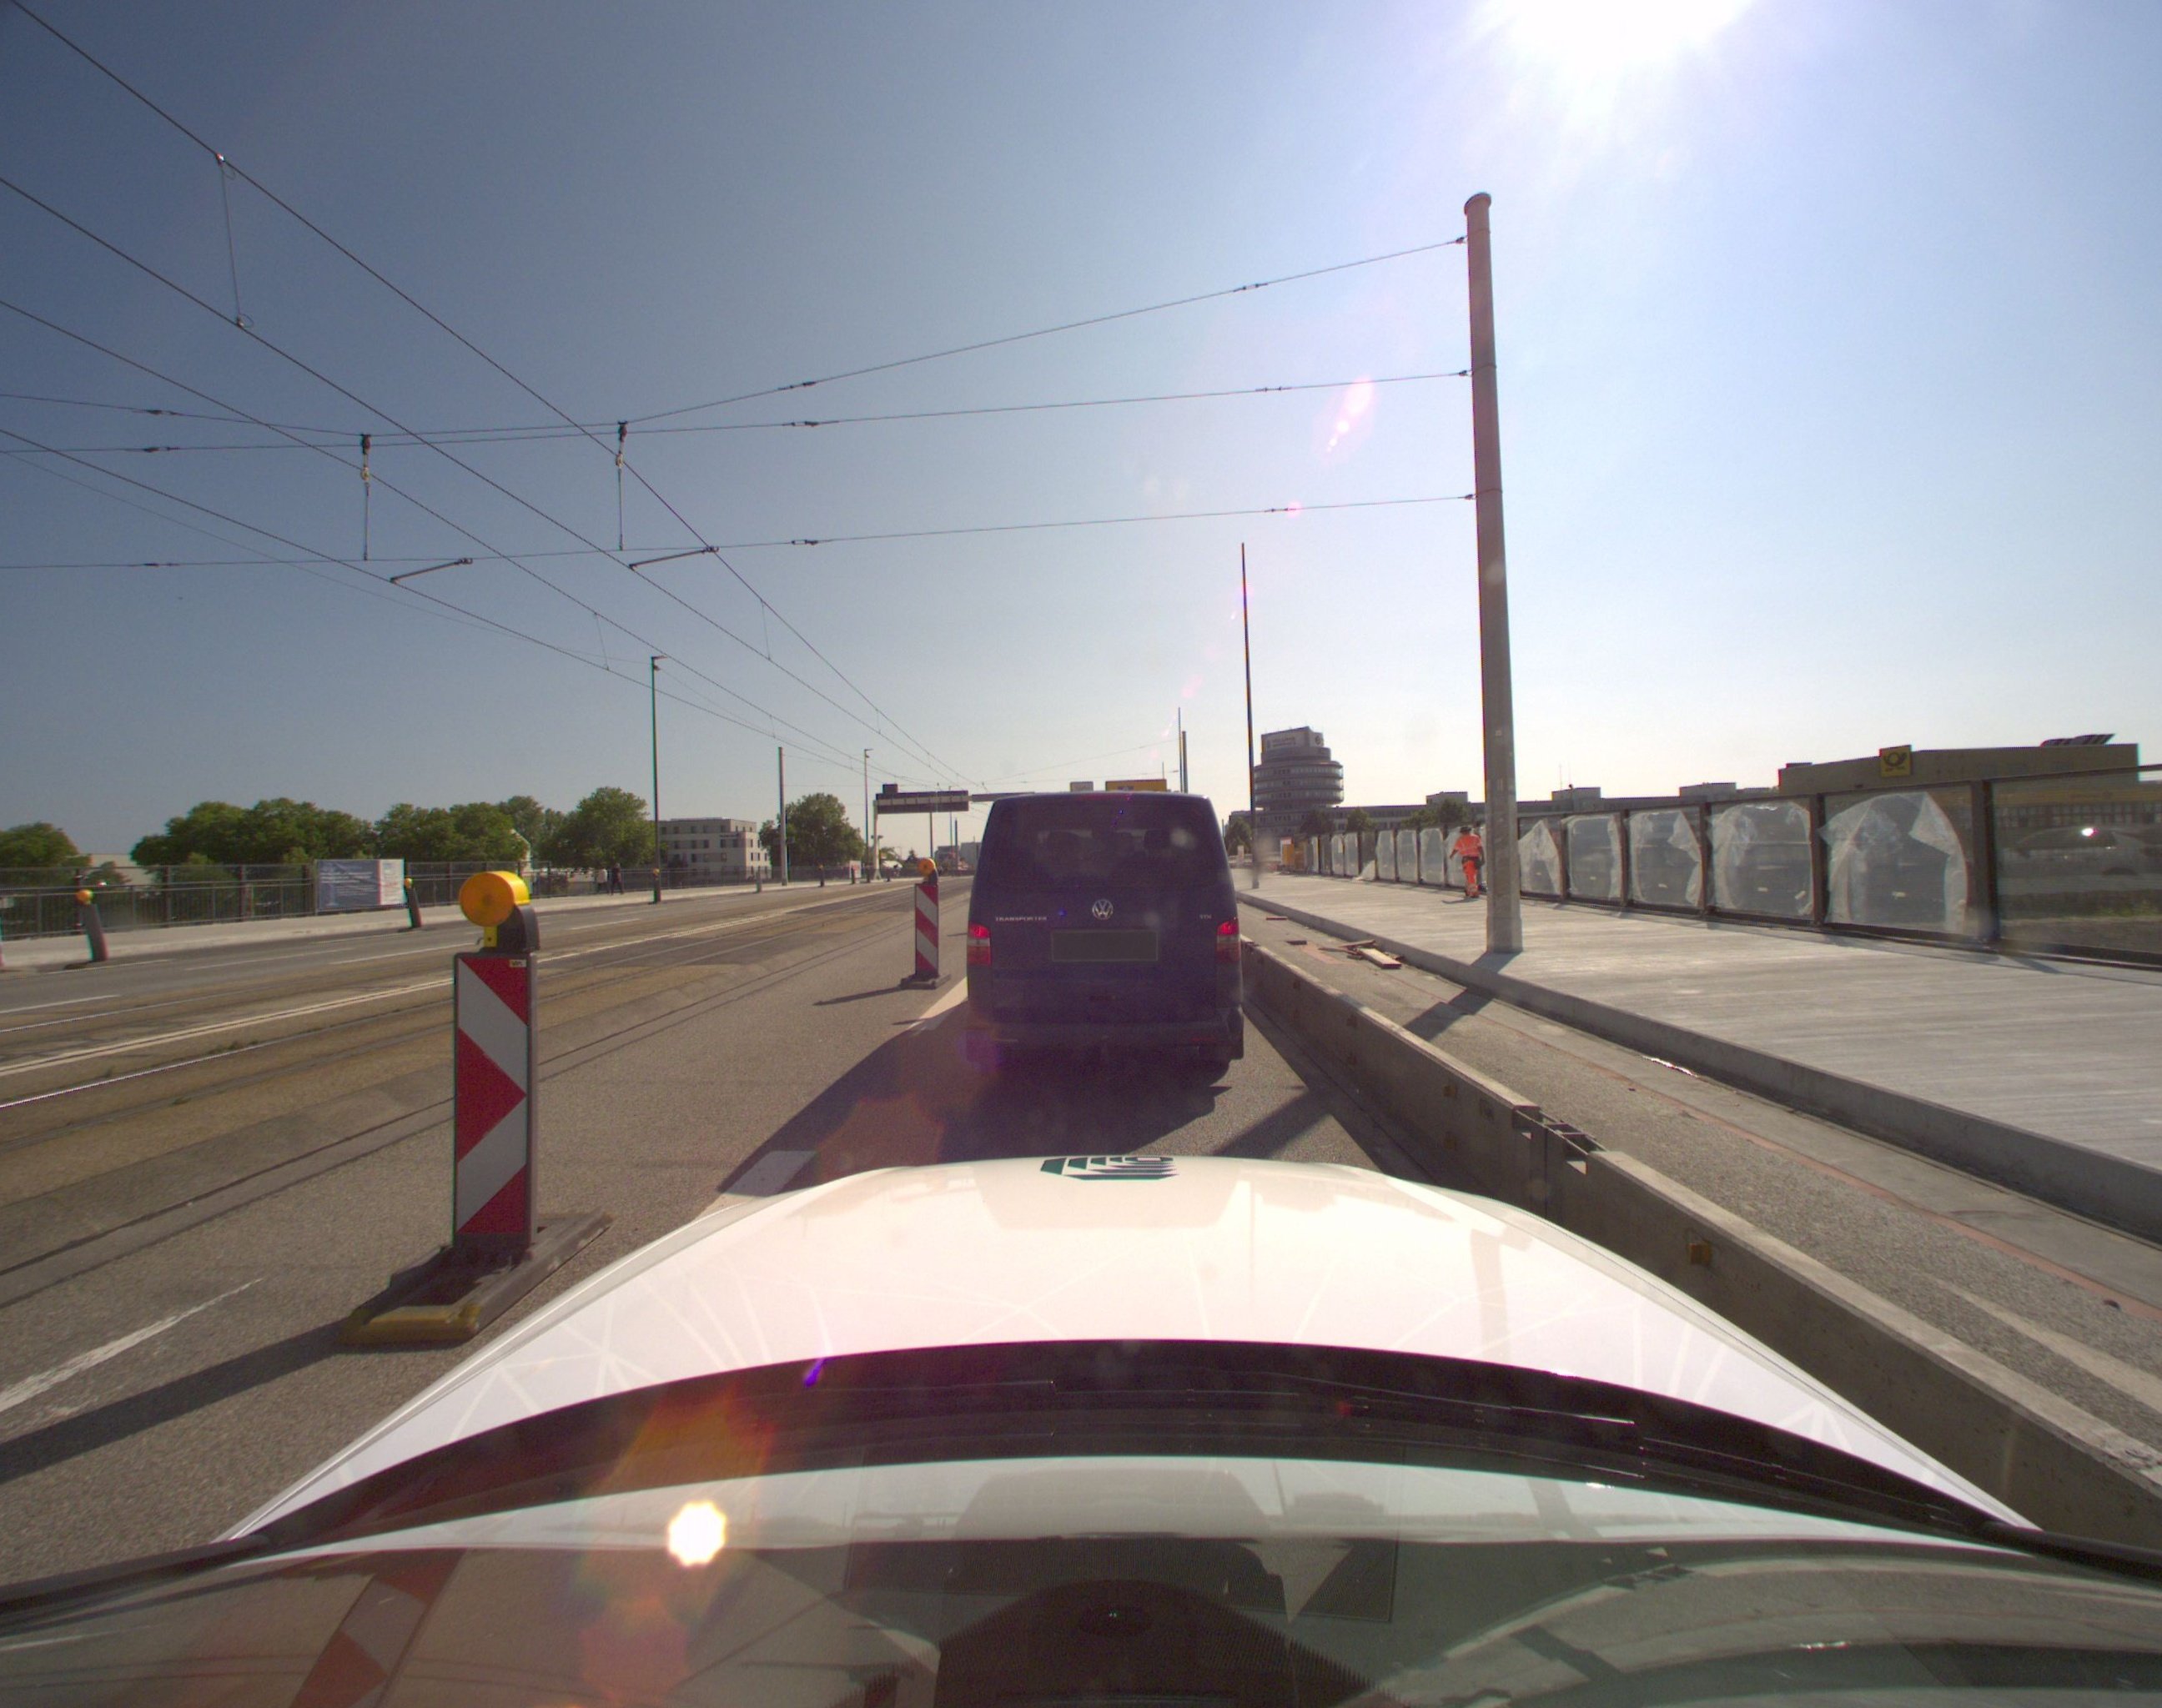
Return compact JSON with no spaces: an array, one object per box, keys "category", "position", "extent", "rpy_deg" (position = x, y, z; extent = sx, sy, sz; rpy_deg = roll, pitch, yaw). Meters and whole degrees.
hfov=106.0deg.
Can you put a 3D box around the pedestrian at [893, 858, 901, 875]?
[{"category":"pedestrian","position":[-20.116,1.361,88.871],"extent":[0.631,1.893,0.752],"rpy_deg":[-1,0,1]}]

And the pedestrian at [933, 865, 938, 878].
[{"category":"pedestrian","position":[-20.479,2.436,114.728],"extent":[0.632,1.752,0.752],"rpy_deg":[-1,0,1]}]

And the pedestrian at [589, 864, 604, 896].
[{"category":"pedestrian","position":[-25.347,1.364,42.637],"extent":[0.493,1.694,0.474],"rpy_deg":[-1,-1,1]}]

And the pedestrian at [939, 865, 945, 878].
[{"category":"pedestrian","position":[-19.654,2.432,115.269],"extent":[0.631,1.774,0.752],"rpy_deg":[-1,0,1]}]

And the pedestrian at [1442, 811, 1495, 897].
[{"category":"pedestrian","position":[9.083,-0.002,19.117],"extent":[0.779,1.935,0.800],"rpy_deg":[-3,-1,1]}]

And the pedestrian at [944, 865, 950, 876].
[{"category":"pedestrian","position":[-19.427,2.434,118.065],"extent":[0.631,1.598,0.752],"rpy_deg":[-1,0,1]}]

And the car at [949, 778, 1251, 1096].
[{"category":"car","position":[0.135,0.507,7.032],"extent":[1.809,1.905,4.054],"rpy_deg":[-1,0,0]}]

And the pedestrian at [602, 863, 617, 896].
[{"category":"pedestrian","position":[-24.590,1.341,42.493],"extent":[0.493,1.694,0.474],"rpy_deg":[-1,-1,1]}]
